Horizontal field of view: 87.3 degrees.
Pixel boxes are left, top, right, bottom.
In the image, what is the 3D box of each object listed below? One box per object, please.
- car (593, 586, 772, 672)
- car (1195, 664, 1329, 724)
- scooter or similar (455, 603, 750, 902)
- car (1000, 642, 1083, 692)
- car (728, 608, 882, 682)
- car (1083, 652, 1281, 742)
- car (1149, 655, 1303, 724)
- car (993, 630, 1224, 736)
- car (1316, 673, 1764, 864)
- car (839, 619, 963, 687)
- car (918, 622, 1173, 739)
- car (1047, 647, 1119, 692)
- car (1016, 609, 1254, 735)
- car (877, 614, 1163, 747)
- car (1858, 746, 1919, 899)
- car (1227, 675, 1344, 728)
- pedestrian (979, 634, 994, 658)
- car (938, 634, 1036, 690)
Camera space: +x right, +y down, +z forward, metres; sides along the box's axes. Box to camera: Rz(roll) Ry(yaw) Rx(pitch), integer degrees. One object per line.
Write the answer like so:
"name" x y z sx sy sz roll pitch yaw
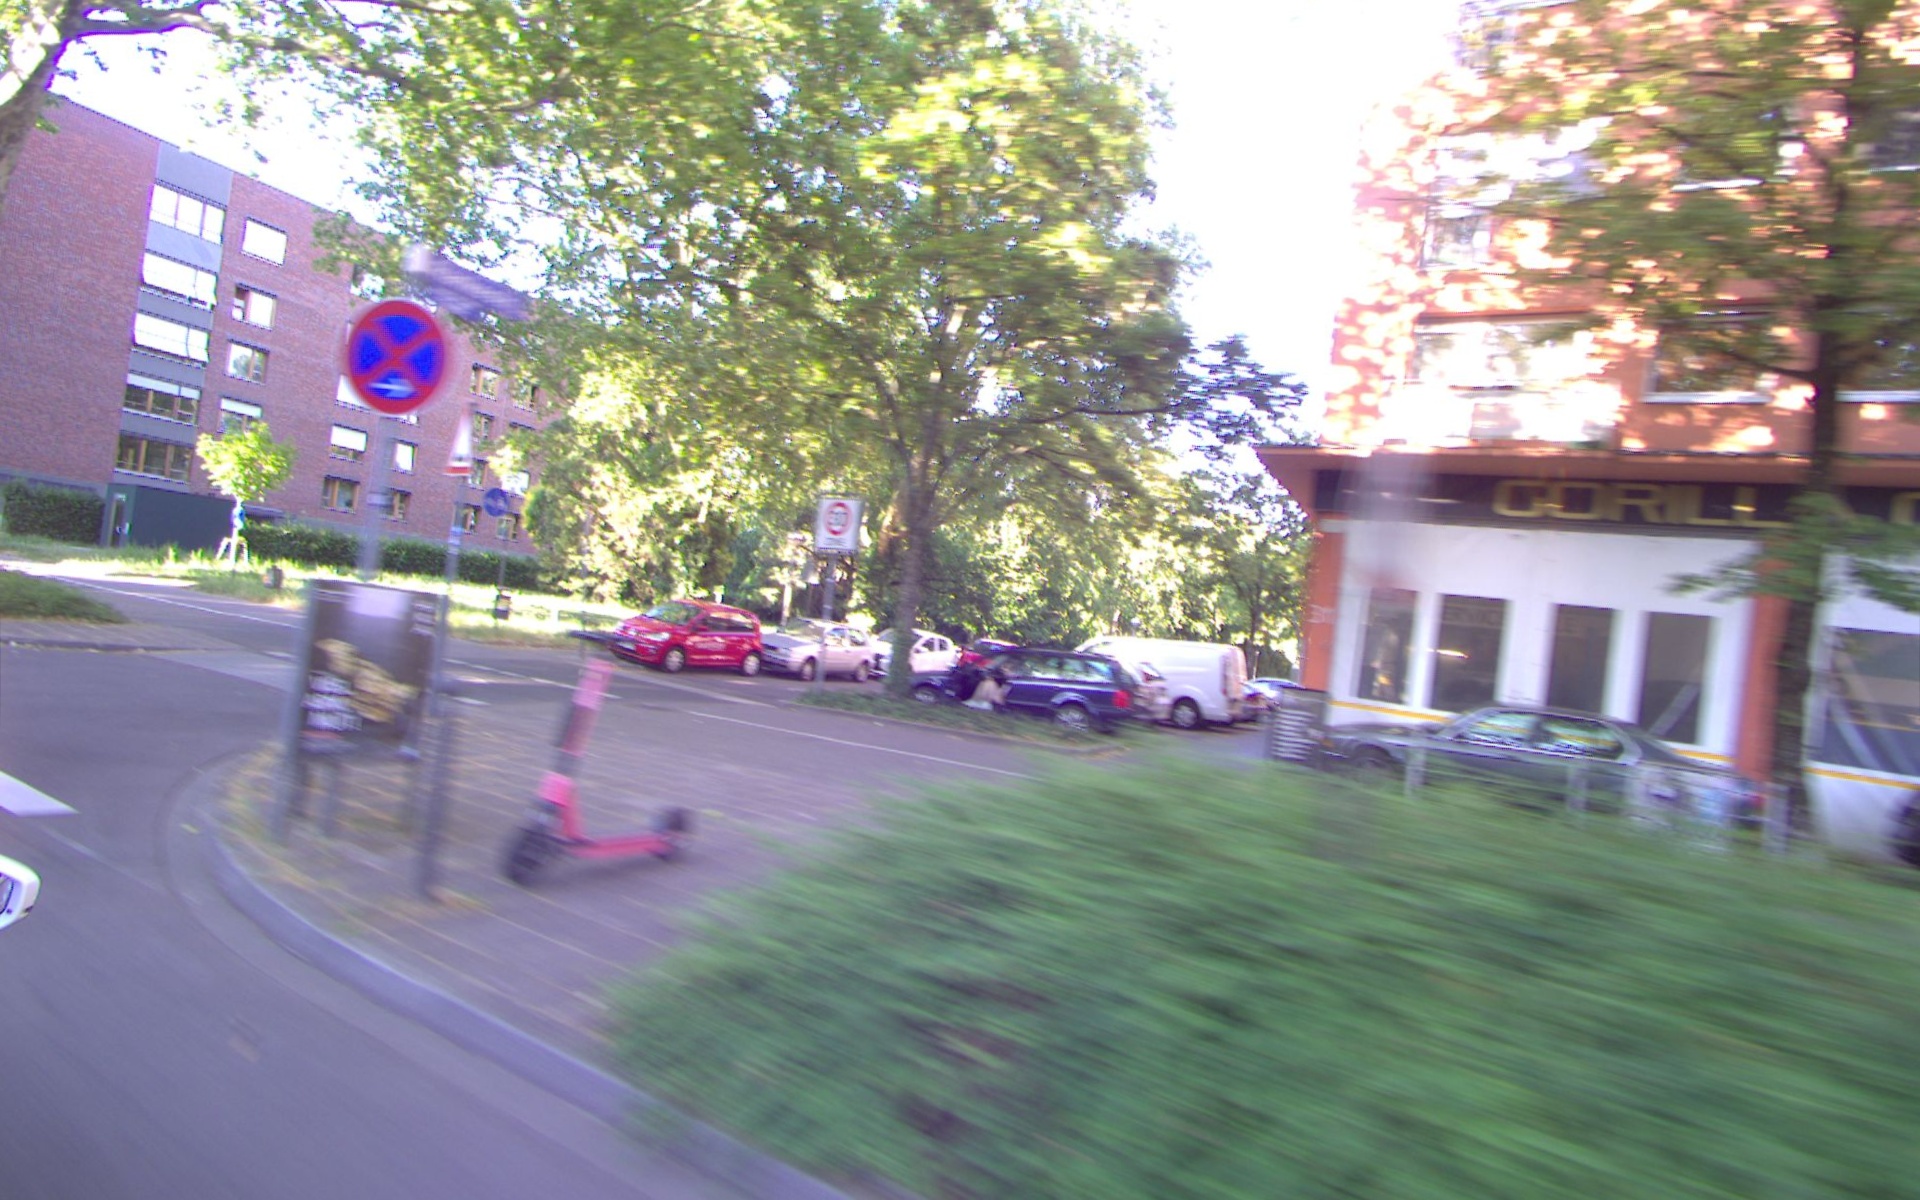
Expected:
"car" -5.921 0.683 21.856 1.654 1.469 3.547 7 -2 28
"car" 11.462 3.550 38.191 4.497 1.593 1.794 7 -1 26
"scooter or similar" -1.733 0.715 5.040 0.560 1.254 1.211 6 -1 28
"car" 3.218 2.639 38.927 1.654 1.600 3.928 7 -2 28
"car" -3.766 1.173 25.105 1.654 1.469 3.928 7 -2 28
"car" 5.640 2.424 25.656 4.497 1.593 1.794 7 -1 26
"car" 8.739 2.916 33.135 4.497 1.593 1.794 7 -1 26
"car" 3.198 1.767 21.874 4.497 1.593 1.794 7 -1 26
"car" 6.931 1.932 12.471 4.393 1.451 1.752 6 -1 31
"car" -1.631 1.582 29.178 1.654 1.600 3.928 7 -2 28
"car" 1.658 1.531 19.738 4.496 1.593 1.795 7 -1 25
"car" 5.405 3.051 43.741 1.654 1.600 3.928 7 -2 28
"car" 4.102 1.647 23.756 4.996 2.210 1.917 7 -1 27
"car" 1.022 1.343 17.522 4.496 1.593 1.795 7 -1 25
"car" 11.639 2.506 9.815 3.884 1.451 1.752 6 -1 31
"car" 14.107 4.378 43.606 4.497 1.593 1.794 7 -1 26
"pedestrian" 1.991 3.435 75.512 0.639 1.681 0.649 7 -1 30
"car" 0.979 2.180 34.660 1.654 1.600 3.928 7 -2 28
